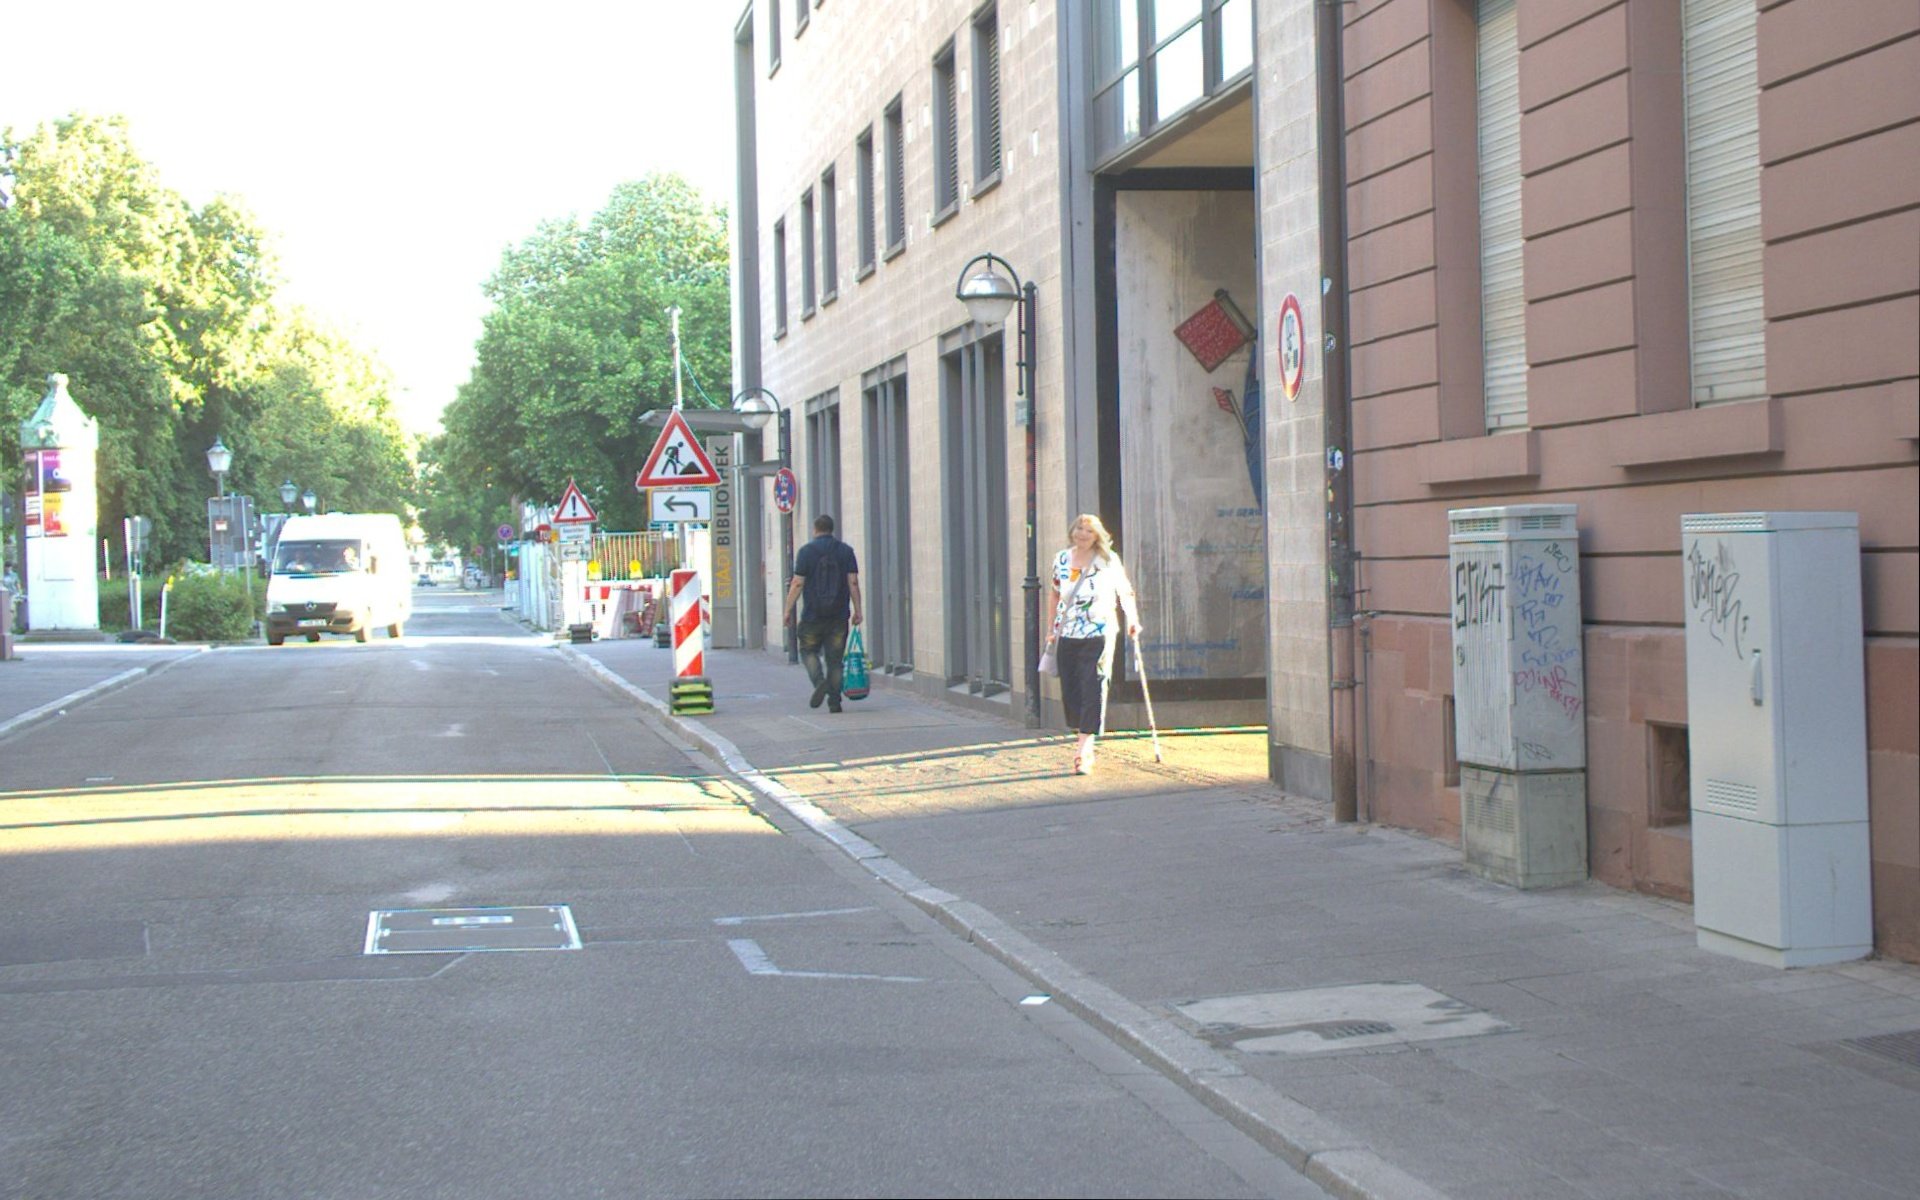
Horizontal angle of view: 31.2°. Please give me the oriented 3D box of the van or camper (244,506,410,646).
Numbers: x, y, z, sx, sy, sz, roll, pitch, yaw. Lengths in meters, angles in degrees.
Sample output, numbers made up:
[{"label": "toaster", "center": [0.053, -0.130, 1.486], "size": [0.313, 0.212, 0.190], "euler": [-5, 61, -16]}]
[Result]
[{"label": "van or camper", "center": [-12.290, -0.497, 67.181], "size": [2.219, 2.576, 6.372], "euler": [-1, 1, -2]}]

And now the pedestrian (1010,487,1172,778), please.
[{"label": "pedestrian", "center": [0.840, 0.202, 22.226], "size": [0.845, 1.797, 0.897], "euler": [-4, 0, -4]}]

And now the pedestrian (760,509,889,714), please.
[{"label": "pedestrian", "center": [-1.239, 0.100, 31.254], "size": [1.000, 1.797, 0.882], "euler": [-2, 0, -9]}]

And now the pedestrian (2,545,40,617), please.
[{"label": "pedestrian", "center": [-23.581, -0.473, 86.346], "size": [0.849, 1.801, 0.664], "euler": [-1, 0, -22]}]
